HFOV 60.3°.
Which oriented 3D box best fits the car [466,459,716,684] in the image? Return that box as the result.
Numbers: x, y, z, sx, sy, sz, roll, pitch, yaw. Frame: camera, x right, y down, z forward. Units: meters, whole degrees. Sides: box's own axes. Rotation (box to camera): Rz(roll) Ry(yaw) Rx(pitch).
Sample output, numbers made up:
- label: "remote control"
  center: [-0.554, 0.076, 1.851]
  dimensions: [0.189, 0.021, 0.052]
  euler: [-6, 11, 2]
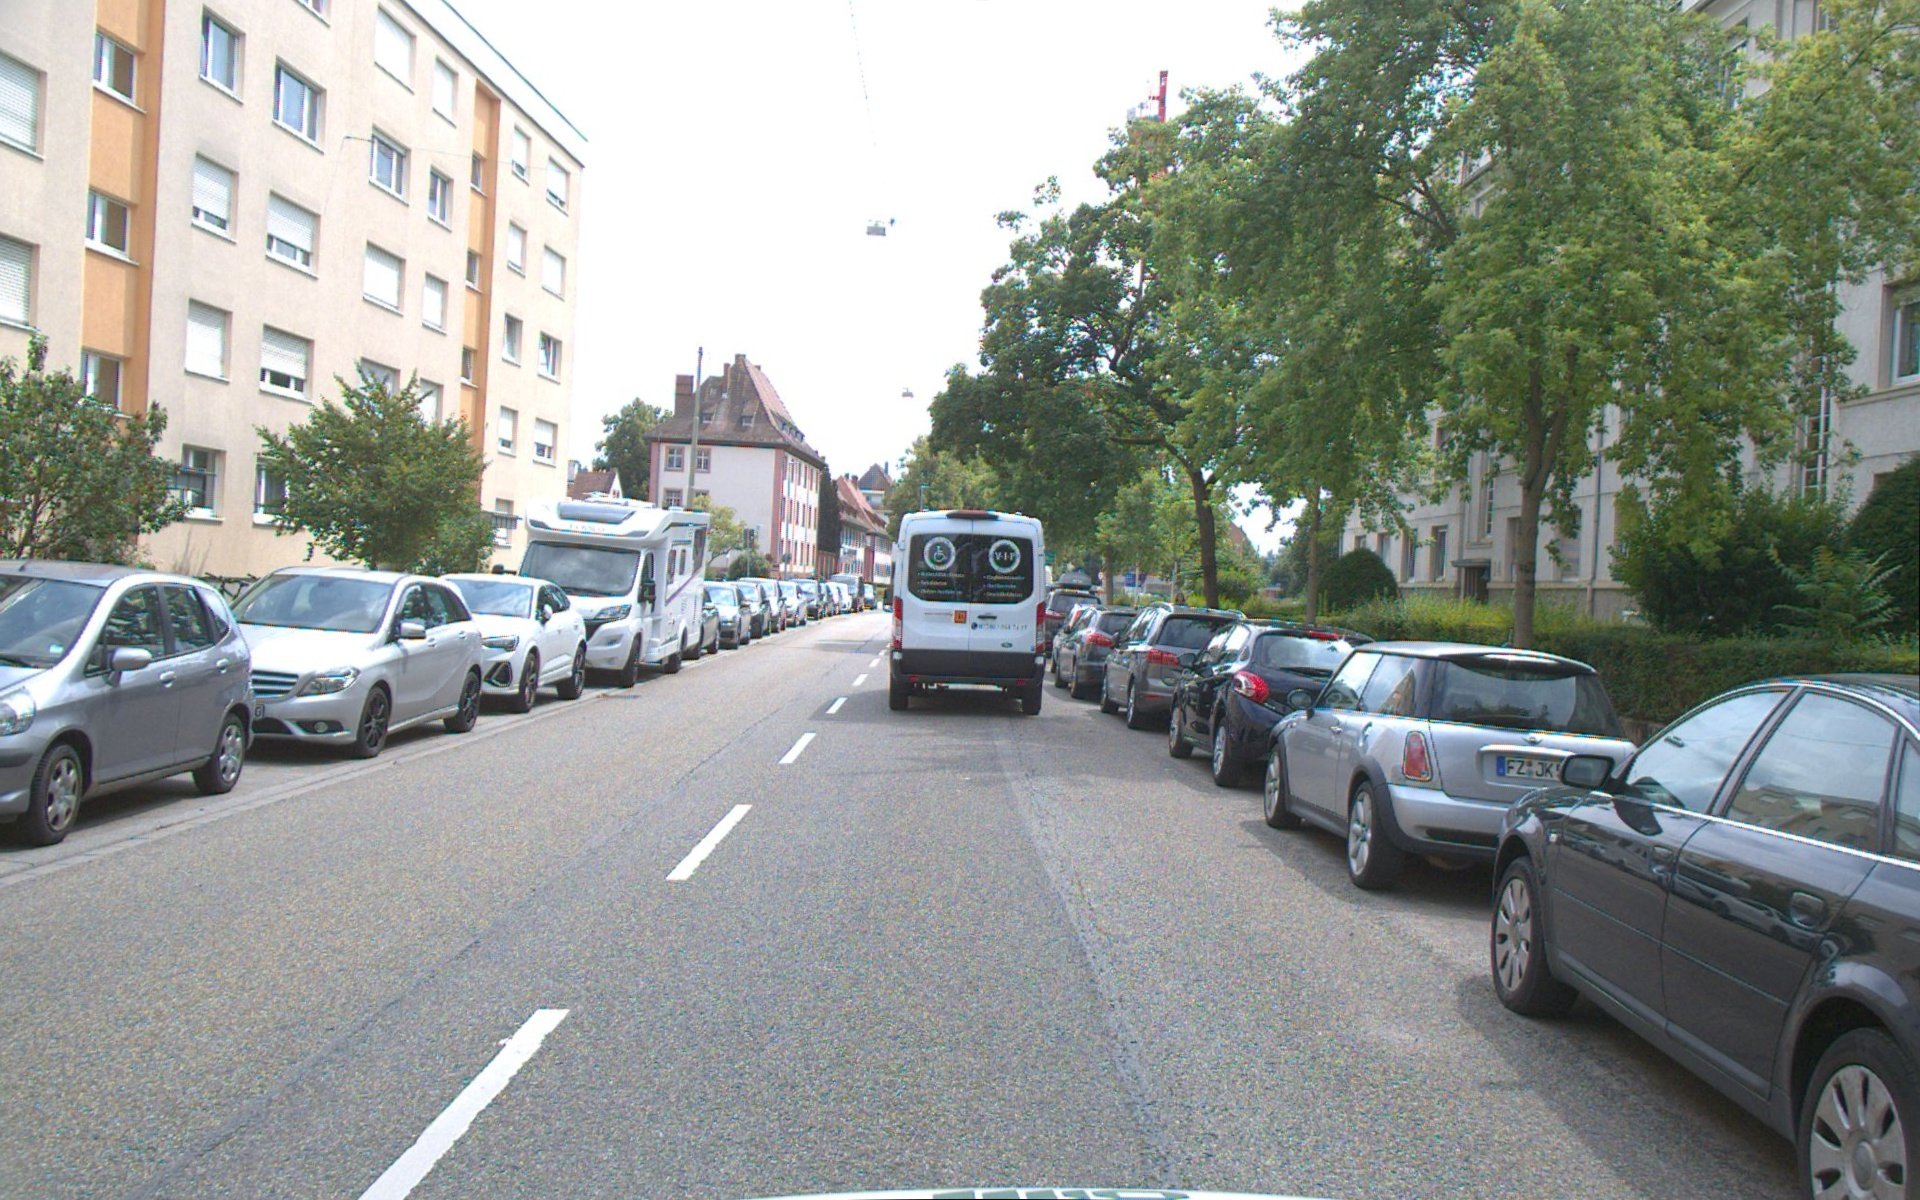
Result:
- label: "car"
  center: [-5.845, -0.437, 27.478]
  dimensions: [2.460, 3.076, 7.395]
  euler: [4, 0, -1]

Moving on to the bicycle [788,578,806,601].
- label: "bicycle"
  center: [-8.603, -0.554, 87.381]
  dimensions: [0.530, 1.195, 2.093]
  euler: [2, 0, 4]

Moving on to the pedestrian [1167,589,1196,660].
- label: "pedestrian"
  center: [5.935, 0.656, 44.353]
  dimensions: [0.516, 1.860, 0.519]
  euler: [2, 0, -27]

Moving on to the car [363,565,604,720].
- label: "car"
  center: [-5.762, 0.449, 20.583]
  dimensions: [1.654, 1.606, 4.593]
  euler: [4, 0, -1]

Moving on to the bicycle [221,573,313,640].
- label: "bicycle"
  center: [-11.234, 0.083, 26.902]
  dimensions: [0.443, 0.997, 2.445]
  euler: [2, 1, 0]

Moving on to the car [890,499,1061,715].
- label: "car"
  center: [0.096, 0.084, 22.499]
  dimensions: [2.029, 2.585, 4.632]
  euler: [2, 0, -2]

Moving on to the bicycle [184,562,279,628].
- label: "bicycle"
  center: [-11.803, -0.107, 26.870]
  dimensions: [0.443, 0.997, 2.445]
  euler: [2, 1, 0]

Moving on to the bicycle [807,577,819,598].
- label: "bicycle"
  center: [-8.594, -0.732, 96.779]
  dimensions: [0.530, 1.195, 1.349]
  euler: [2, 0, 3]

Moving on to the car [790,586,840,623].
- label: "car"
  center: [-6.417, 0.198, 73.548]
  dimensions: [1.749, 1.487, 3.861]
  euler: [4, 0, 0]

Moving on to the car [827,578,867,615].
- label: "car"
  center: [-6.152, -0.217, 90.534]
  dimensions: [1.749, 1.858, 3.974]
  euler: [4, 0, 0]

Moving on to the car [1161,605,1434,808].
- label: "car"
  center: [3.005, 0.881, 15.502]
  dimensions: [1.626, 1.495, 3.889]
  euler: [2, 1, -1]

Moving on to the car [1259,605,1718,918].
- label: "car"
  center: [3.144, 0.866, 10.632]
  dimensions: [1.626, 1.495, 3.725]
  euler: [2, 1, -2]

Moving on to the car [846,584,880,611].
- label: "car"
  center: [-5.899, -0.145, 100.828]
  dimensions: [1.749, 1.507, 3.861]
  euler: [4, 0, 0]

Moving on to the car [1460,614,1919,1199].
- label: "car"
  center: [3.039, 0.878, 4.997]
  dimensions: [1.743, 1.494, 4.616]
  euler: [4, 0, 2]

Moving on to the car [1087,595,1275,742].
- label: "car"
  center: [2.825, 0.821, 21.995]
  dimensions: [1.626, 1.610, 4.284]
  euler: [5, 0, -3]

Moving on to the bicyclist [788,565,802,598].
- label: "bicyclist"
  center: [-8.638, -0.979, 86.652]
  dimensions: [0.525, 1.682, 1.048]
  euler: [2, 0, 4]

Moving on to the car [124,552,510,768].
- label: "car"
  center: [-5.729, 0.462, 15.431]
  dimensions: [1.719, 1.606, 4.568]
  euler: [4, 0, 0]

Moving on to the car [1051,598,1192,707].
- label: "car"
  center: [2.546, 0.786, 27.075]
  dimensions: [1.585, 1.494, 4.389]
  euler: [4, 0, -3]

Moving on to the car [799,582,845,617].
- label: "car"
  center: [-6.526, -0.034, 78.440]
  dimensions: [1.749, 1.487, 3.861]
  euler: [4, 0, 0]

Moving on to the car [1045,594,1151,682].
- label: "car"
  center: [2.634, 0.688, 32.330]
  dimensions: [1.625, 1.482, 4.035]
  euler: [4, 0, 0]

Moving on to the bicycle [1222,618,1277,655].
- label: "bicycle"
  center: [7.948, 0.997, 45.442]
  dimensions: [1.360, 0.933, 0.513]
  euler: [2, 1, -14]

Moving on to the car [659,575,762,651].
- label: "car"
  center: [-5.965, 0.272, 40.113]
  dimensions: [1.848, 1.606, 5.217]
  euler: [4, 0, -3]

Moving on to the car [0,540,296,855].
- label: "car"
  center: [-5.772, 0.436, 10.335]
  dimensions: [1.688, 1.566, 4.003]
  euler: [2, 1, -2]

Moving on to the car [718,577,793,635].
- label: "car"
  center: [-6.313, 0.158, 51.431]
  dimensions: [1.848, 1.606, 4.152]
  euler: [4, 0, -2]

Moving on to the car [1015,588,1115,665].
- label: "car"
  center: [2.625, 0.630, 42.589]
  dimensions: [1.889, 1.690, 5.322]
  euler: [5, 0, -3]

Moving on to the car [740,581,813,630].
- label: "car"
  center: [-6.325, 0.167, 57.414]
  dimensions: [1.847, 1.514, 4.634]
  euler: [4, 0, 1]

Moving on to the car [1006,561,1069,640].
- label: "car"
  center: [2.820, 0.010, 61.056]
  dimensions: [1.859, 2.631, 4.828]
  euler: [5, 0, 0]

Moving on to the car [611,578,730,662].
- label: "car"
  center: [-5.926, 0.378, 34.362]
  dimensions: [1.654, 1.522, 4.593]
  euler: [4, 0, -1]

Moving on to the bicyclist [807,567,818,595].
- label: "bicyclist"
  center: [-8.595, -1.116, 96.452]
  dimensions: [0.525, 1.613, 0.692]
  euler: [2, 0, 2]

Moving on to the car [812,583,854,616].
- label: "car"
  center: [-6.529, -0.041, 85.268]
  dimensions: [1.749, 1.507, 3.861]
  euler: [4, 0, 0]

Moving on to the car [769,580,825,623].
- label: "car"
  center: [-6.592, 0.038, 67.203]
  dimensions: [1.749, 1.570, 3.861]
  euler: [4, 0, 0]

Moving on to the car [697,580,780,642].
- label: "car"
  center: [-6.147, 0.270, 46.346]
  dimensions: [1.706, 1.522, 4.785]
  euler: [4, 0, -1]
